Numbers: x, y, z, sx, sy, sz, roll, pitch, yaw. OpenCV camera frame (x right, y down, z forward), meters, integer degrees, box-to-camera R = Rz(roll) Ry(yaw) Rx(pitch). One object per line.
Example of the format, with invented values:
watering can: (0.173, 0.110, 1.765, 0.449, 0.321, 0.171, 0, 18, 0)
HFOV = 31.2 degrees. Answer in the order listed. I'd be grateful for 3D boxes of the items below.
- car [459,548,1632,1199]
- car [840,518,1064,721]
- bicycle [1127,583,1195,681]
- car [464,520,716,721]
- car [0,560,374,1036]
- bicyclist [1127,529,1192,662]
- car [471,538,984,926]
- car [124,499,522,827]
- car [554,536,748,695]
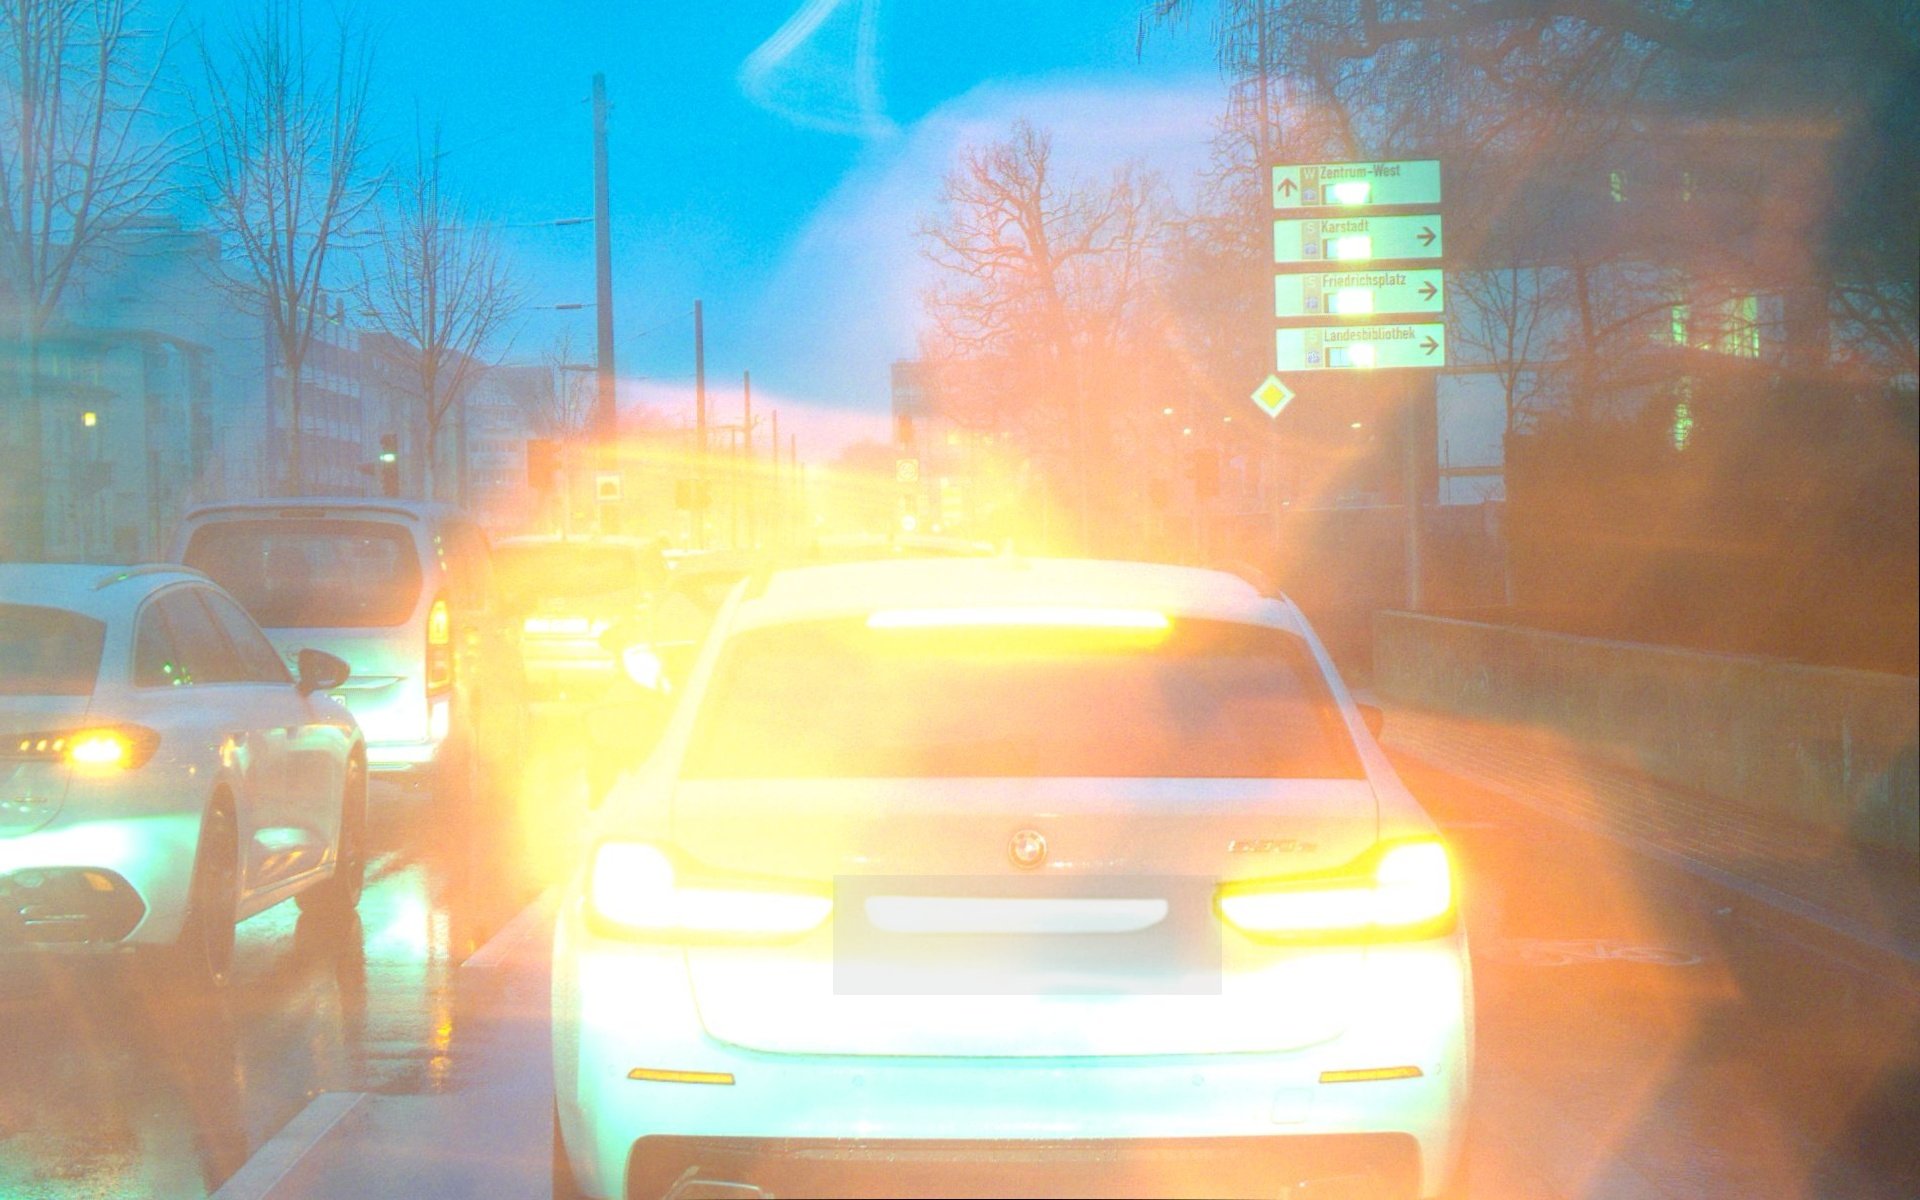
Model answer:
car: (0.127, 0.645, 7.958, 1.999, 1.503, 4.164, 0, 1, -1)
car: (-0.083, 0.121, 29.793, 1.806, 1.640, 4.000, 0, 1, -1)
bicycle: (2.119, 0.326, 36.489, 0.645, 0.963, 2.046, -1, 1, 2)
car: (-3.163, 0.124, 30.058, 1.806, 1.640, 4.000, 0, 1, -1)
car: (-3.378, 0.561, 12.478, 1.846, 1.400, 4.614, 0, 1, -2)
bicyclist: (2.115, -0.055, 36.507, 0.645, 1.384, 0.890, -1, 1, 2)
car: (-0.903, 0.464, 15.115, 1.936, 1.452, 4.164, 0, 1, -1)
car: (-3.663, 0.306, 20.482, 1.793, 1.730, 4.538, 0, 1, -4)
car: (-3.334, 0.127, 37.719, 1.806, 1.640, 4.000, 0, 1, -1)
